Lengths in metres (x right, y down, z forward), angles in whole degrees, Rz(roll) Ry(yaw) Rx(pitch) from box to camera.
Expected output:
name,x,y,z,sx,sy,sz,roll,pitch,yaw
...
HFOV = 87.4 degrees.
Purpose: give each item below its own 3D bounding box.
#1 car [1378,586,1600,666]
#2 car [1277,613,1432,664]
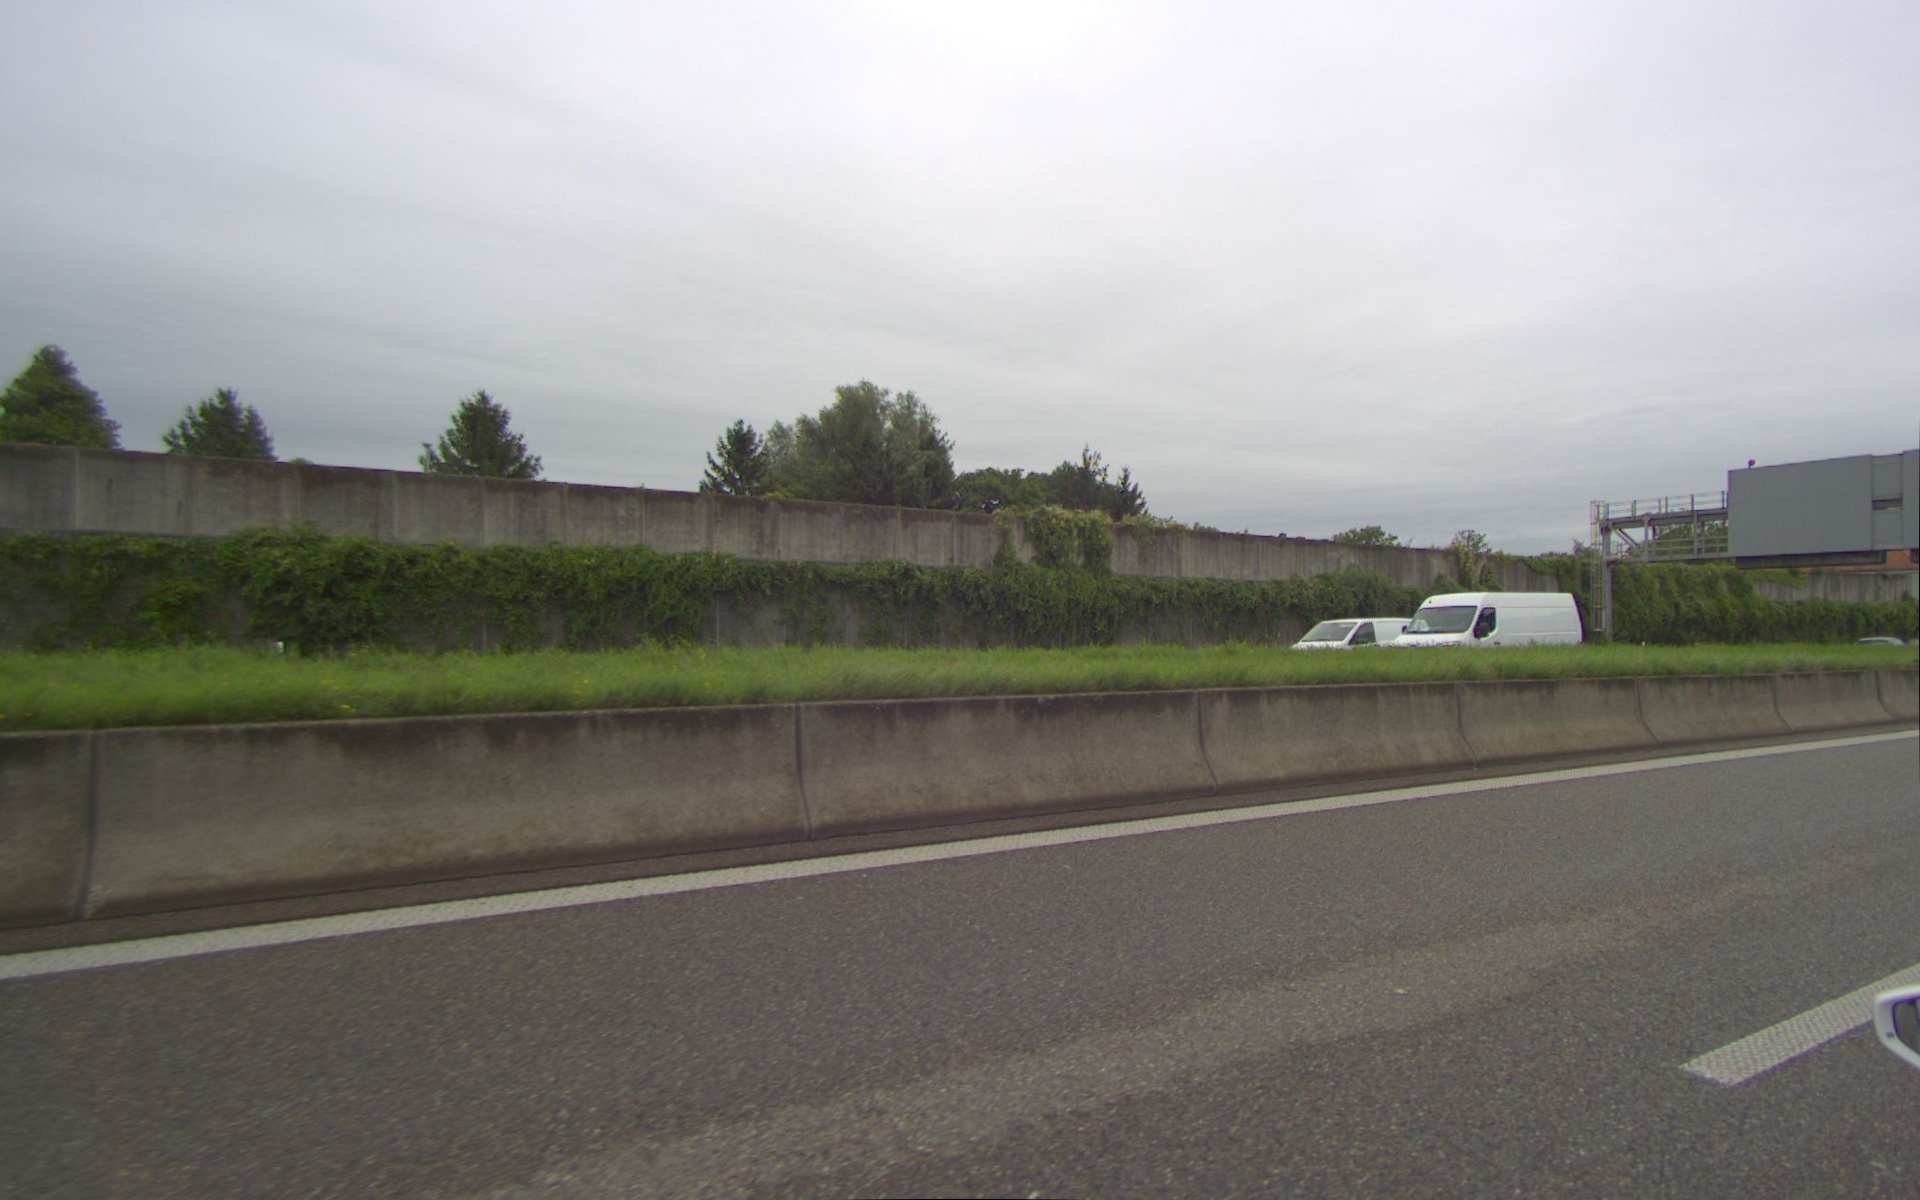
name,x,y,z,sx,sy,sz,roll,pitch,yaw
car,14.159,0.703,26.748,6.457,1.937,2.117,2,0,-30
car,11.494,1.088,29.179,4.475,1.362,1.869,1,0,-31
